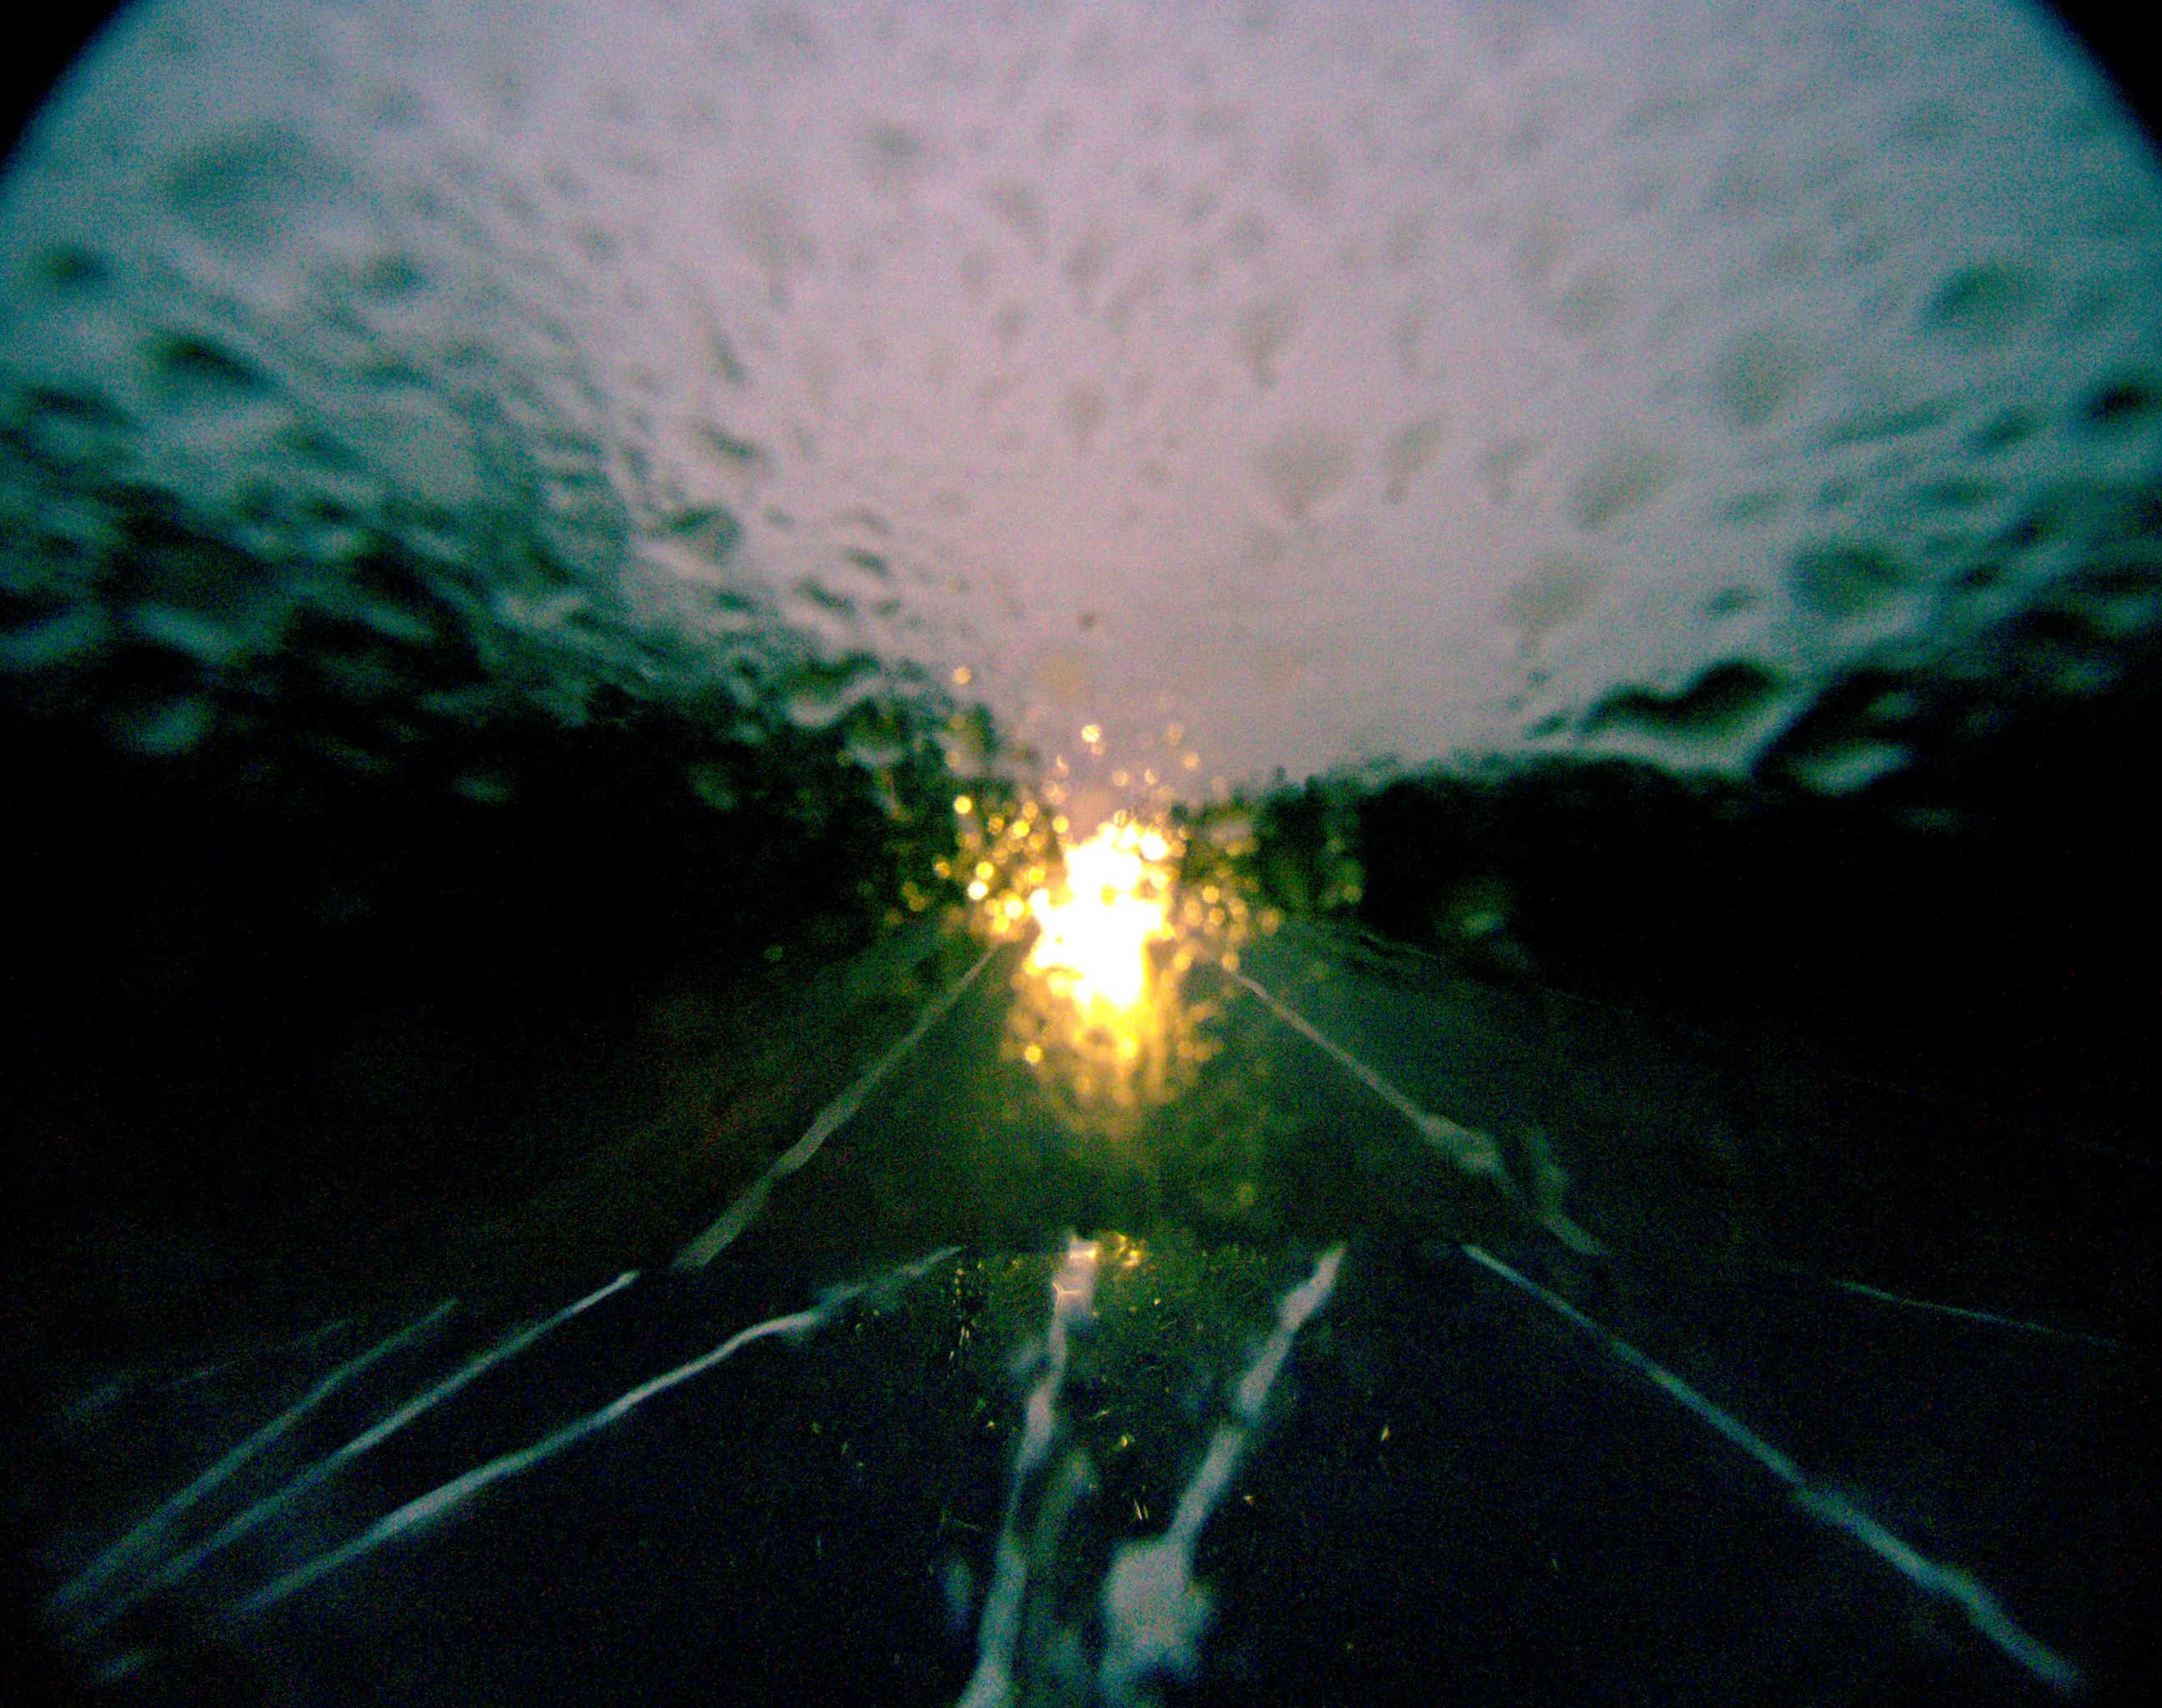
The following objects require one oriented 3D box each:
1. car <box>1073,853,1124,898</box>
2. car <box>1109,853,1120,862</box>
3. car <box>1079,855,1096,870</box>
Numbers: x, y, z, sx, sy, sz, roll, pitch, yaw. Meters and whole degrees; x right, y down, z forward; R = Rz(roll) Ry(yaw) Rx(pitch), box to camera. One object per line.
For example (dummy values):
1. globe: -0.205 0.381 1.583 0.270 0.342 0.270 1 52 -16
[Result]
1. car: 0.671 0.793 29.959 1.860 1.604 4.000 -1 0 1
2. car: 5.234 0.541 119.020 1.636 1.449 3.982 1 0 0
3. car: 0.763 1.019 92.018 1.998 1.612 4.000 -2 1 1
